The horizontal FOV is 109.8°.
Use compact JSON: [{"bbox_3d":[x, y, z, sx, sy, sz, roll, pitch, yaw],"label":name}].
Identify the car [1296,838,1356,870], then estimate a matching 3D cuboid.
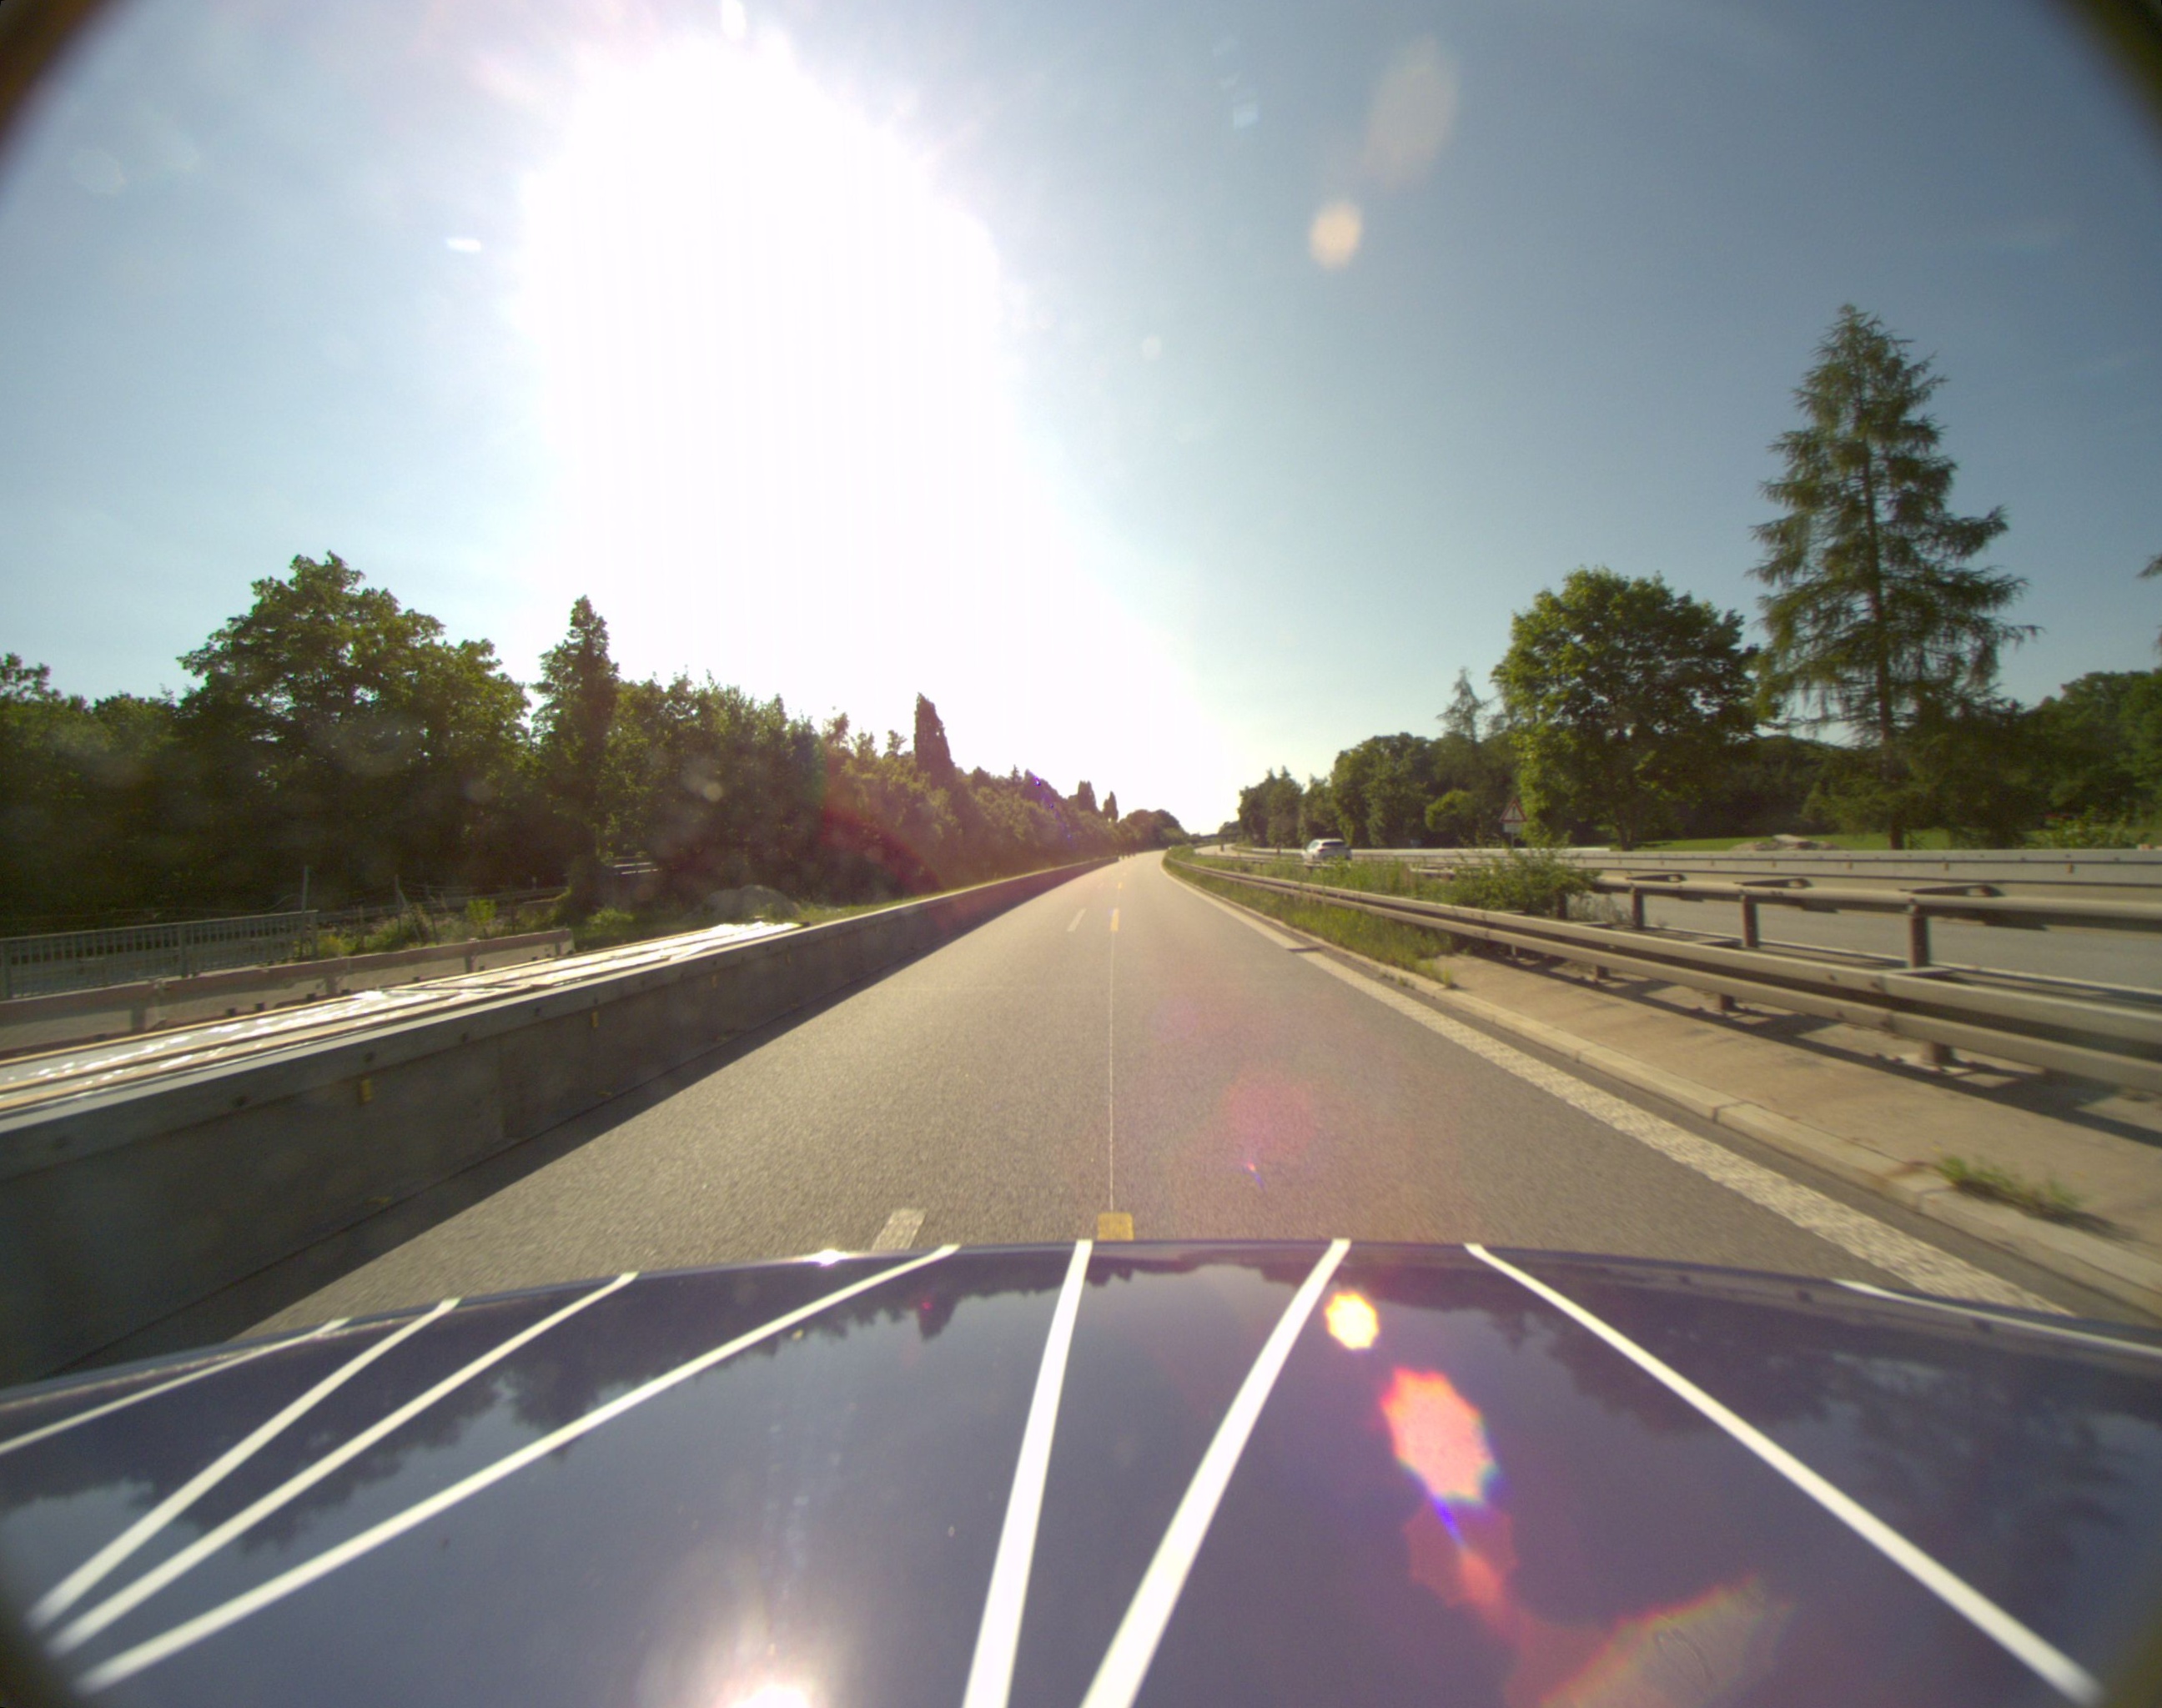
[{"bbox_3d":[12.458,-0.035,38.888,1.764,1.503,4.534,-2,1,2],"label":"car"}]
